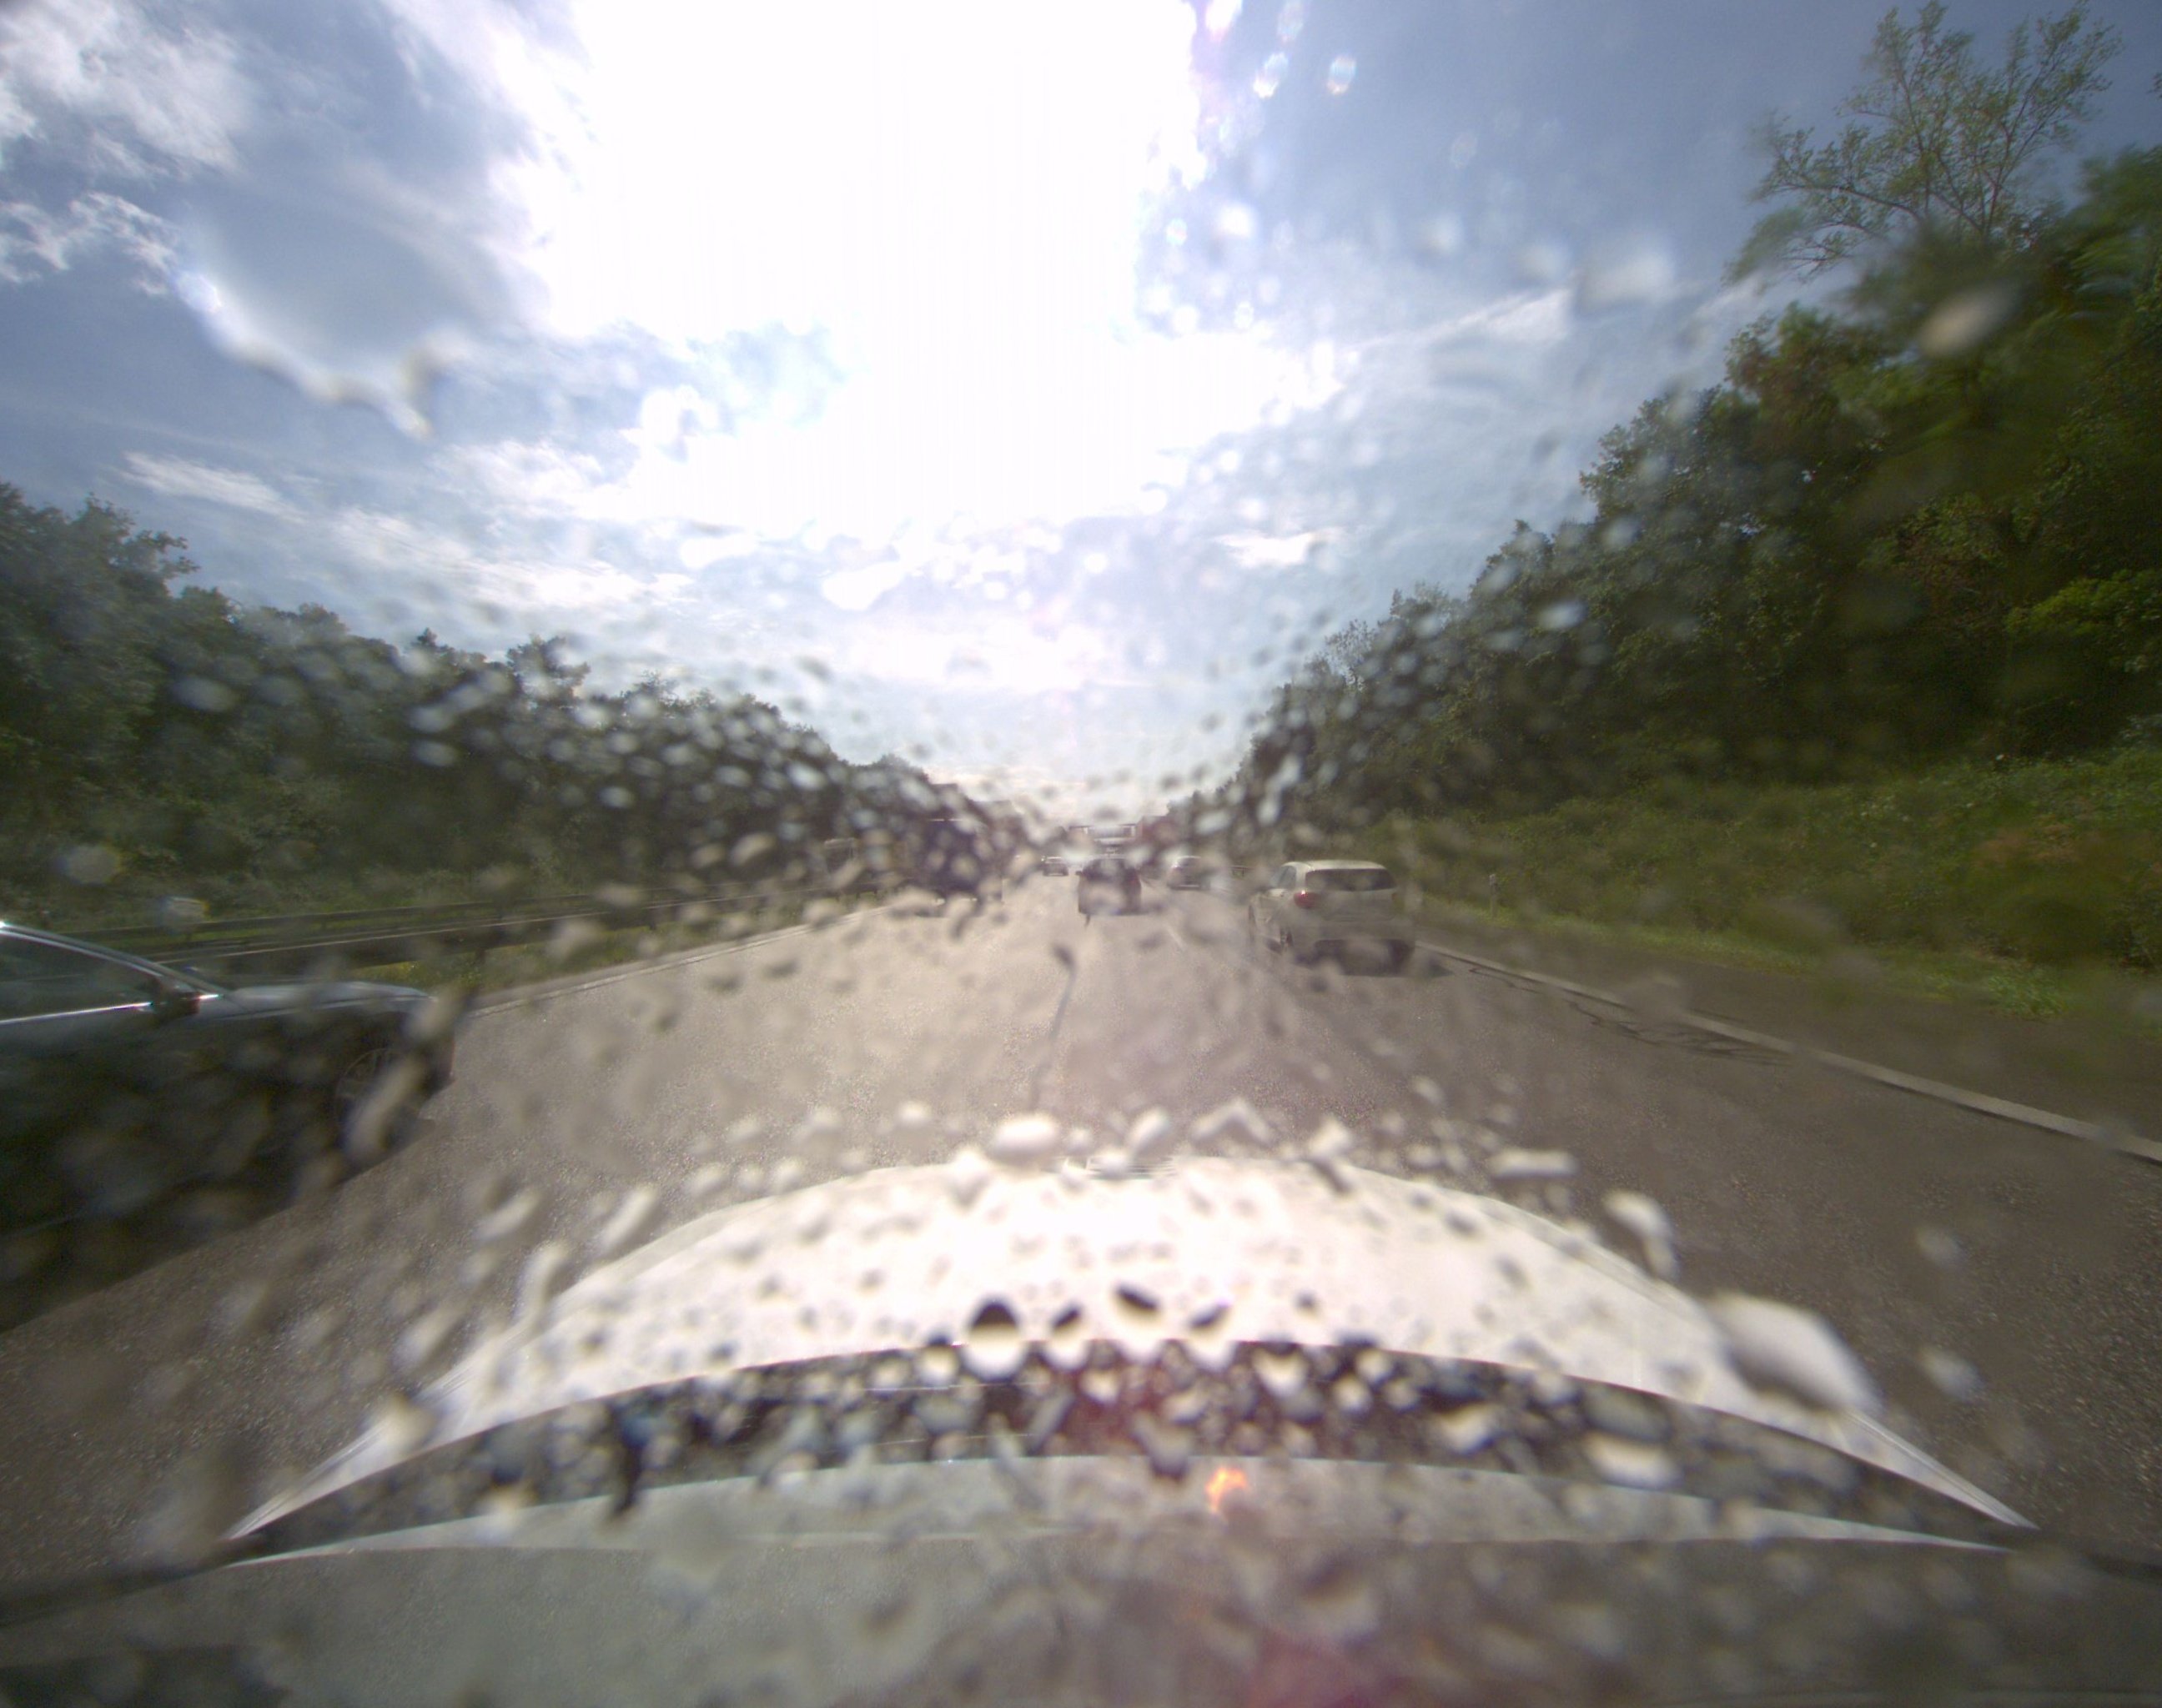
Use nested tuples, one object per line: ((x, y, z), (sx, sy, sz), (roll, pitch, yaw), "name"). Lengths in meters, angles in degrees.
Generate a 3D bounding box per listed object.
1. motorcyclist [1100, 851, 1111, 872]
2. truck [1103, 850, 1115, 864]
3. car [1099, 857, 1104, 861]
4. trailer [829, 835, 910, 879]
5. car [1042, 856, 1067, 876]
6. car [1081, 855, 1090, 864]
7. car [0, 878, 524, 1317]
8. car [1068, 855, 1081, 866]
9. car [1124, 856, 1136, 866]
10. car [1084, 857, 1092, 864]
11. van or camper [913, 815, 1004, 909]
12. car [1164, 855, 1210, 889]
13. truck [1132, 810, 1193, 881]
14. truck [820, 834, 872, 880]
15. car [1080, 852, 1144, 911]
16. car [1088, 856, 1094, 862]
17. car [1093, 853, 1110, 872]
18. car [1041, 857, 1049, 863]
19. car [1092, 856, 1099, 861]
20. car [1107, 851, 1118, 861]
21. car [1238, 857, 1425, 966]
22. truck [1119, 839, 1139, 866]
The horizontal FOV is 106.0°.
((1.912, 0.554, 63.907), (0.799, 1.633, 1.013), (0, -1, 0), "motorcyclist")
((5.675, 0.612, 165.056), (2.184, 2.875, 4.849), (0, 0, 0), "truck")
((6.057, 1.407, 243.873), (1.544, 1.267, 3.484), (0, 0, 0), "car")
((-19.437, 0.308, 76.433), (2.712, 3.644, 16.683), (0, 0, 2), "trailer")
((-2.071, 0.924, 65.037), (1.848, 1.551, 3.484), (0, 0, 0), "car")
((0.728, 0.896, 137.222), (1.455, 1.393, 3.311), (0, 0, 0), "car")
((-4.541, 0.857, 2.825), (1.787, 1.419, 4.840), (0, 0, 1), "car")
((-0.861, 0.882, 111.475), (1.745, 1.457, 3.389), (0, 0, 0), "car")
((7.029, 0.953, 116.564), (1.547, 1.383, 3.210), (0, 0, 0), "car")
((1.320, 1.335, 162.346), (1.544, 1.267, 3.484), (0, 0, 0), "car")
((-3.738, 0.241, 25.854), (1.987, 2.669, 5.384), (0, 0, 0), "van or camper")
((4.818, 0.791, 37.445), (1.675, 1.442, 3.905), (0, 0, 0), "car")
((5.879, -0.518, 62.171), (3.635, 4.720, 16.787), (0, 0, 2), "truck")
((-19.684, 0.271, 68.559), (2.712, 3.664, 5.333), (0, 0, 2), "truck")
((0.842, 0.755, 23.555), (1.712, 1.568, 3.484), (0, 0, 0), "car")
((2.402, 1.189, 194.451), (1.544, 1.267, 3.484), (0, 0, 0), "car")
((1.950, 0.790, 76.599), (1.526, 1.746, 3.484), (0, 0, 0), "car")
((-8.904, 1.420, 202.282), (1.564, 1.386, 3.793), (0, 0, 2), "car")
((3.725, 1.249, 208.612), (1.544, 1.267, 3.484), (0, 0, 0), "car")
((4.486, 0.317, 117.006), (1.547, 1.383, 3.210), (0, 0, 0), "car")
((3.706, 0.765, 12.846), (1.686, 1.425, 4.220), (0, 0, 0), "car")
((8.350, -0.260, 142.888), (3.243, 4.479, 12.427), (0, 0, 2), "truck")
